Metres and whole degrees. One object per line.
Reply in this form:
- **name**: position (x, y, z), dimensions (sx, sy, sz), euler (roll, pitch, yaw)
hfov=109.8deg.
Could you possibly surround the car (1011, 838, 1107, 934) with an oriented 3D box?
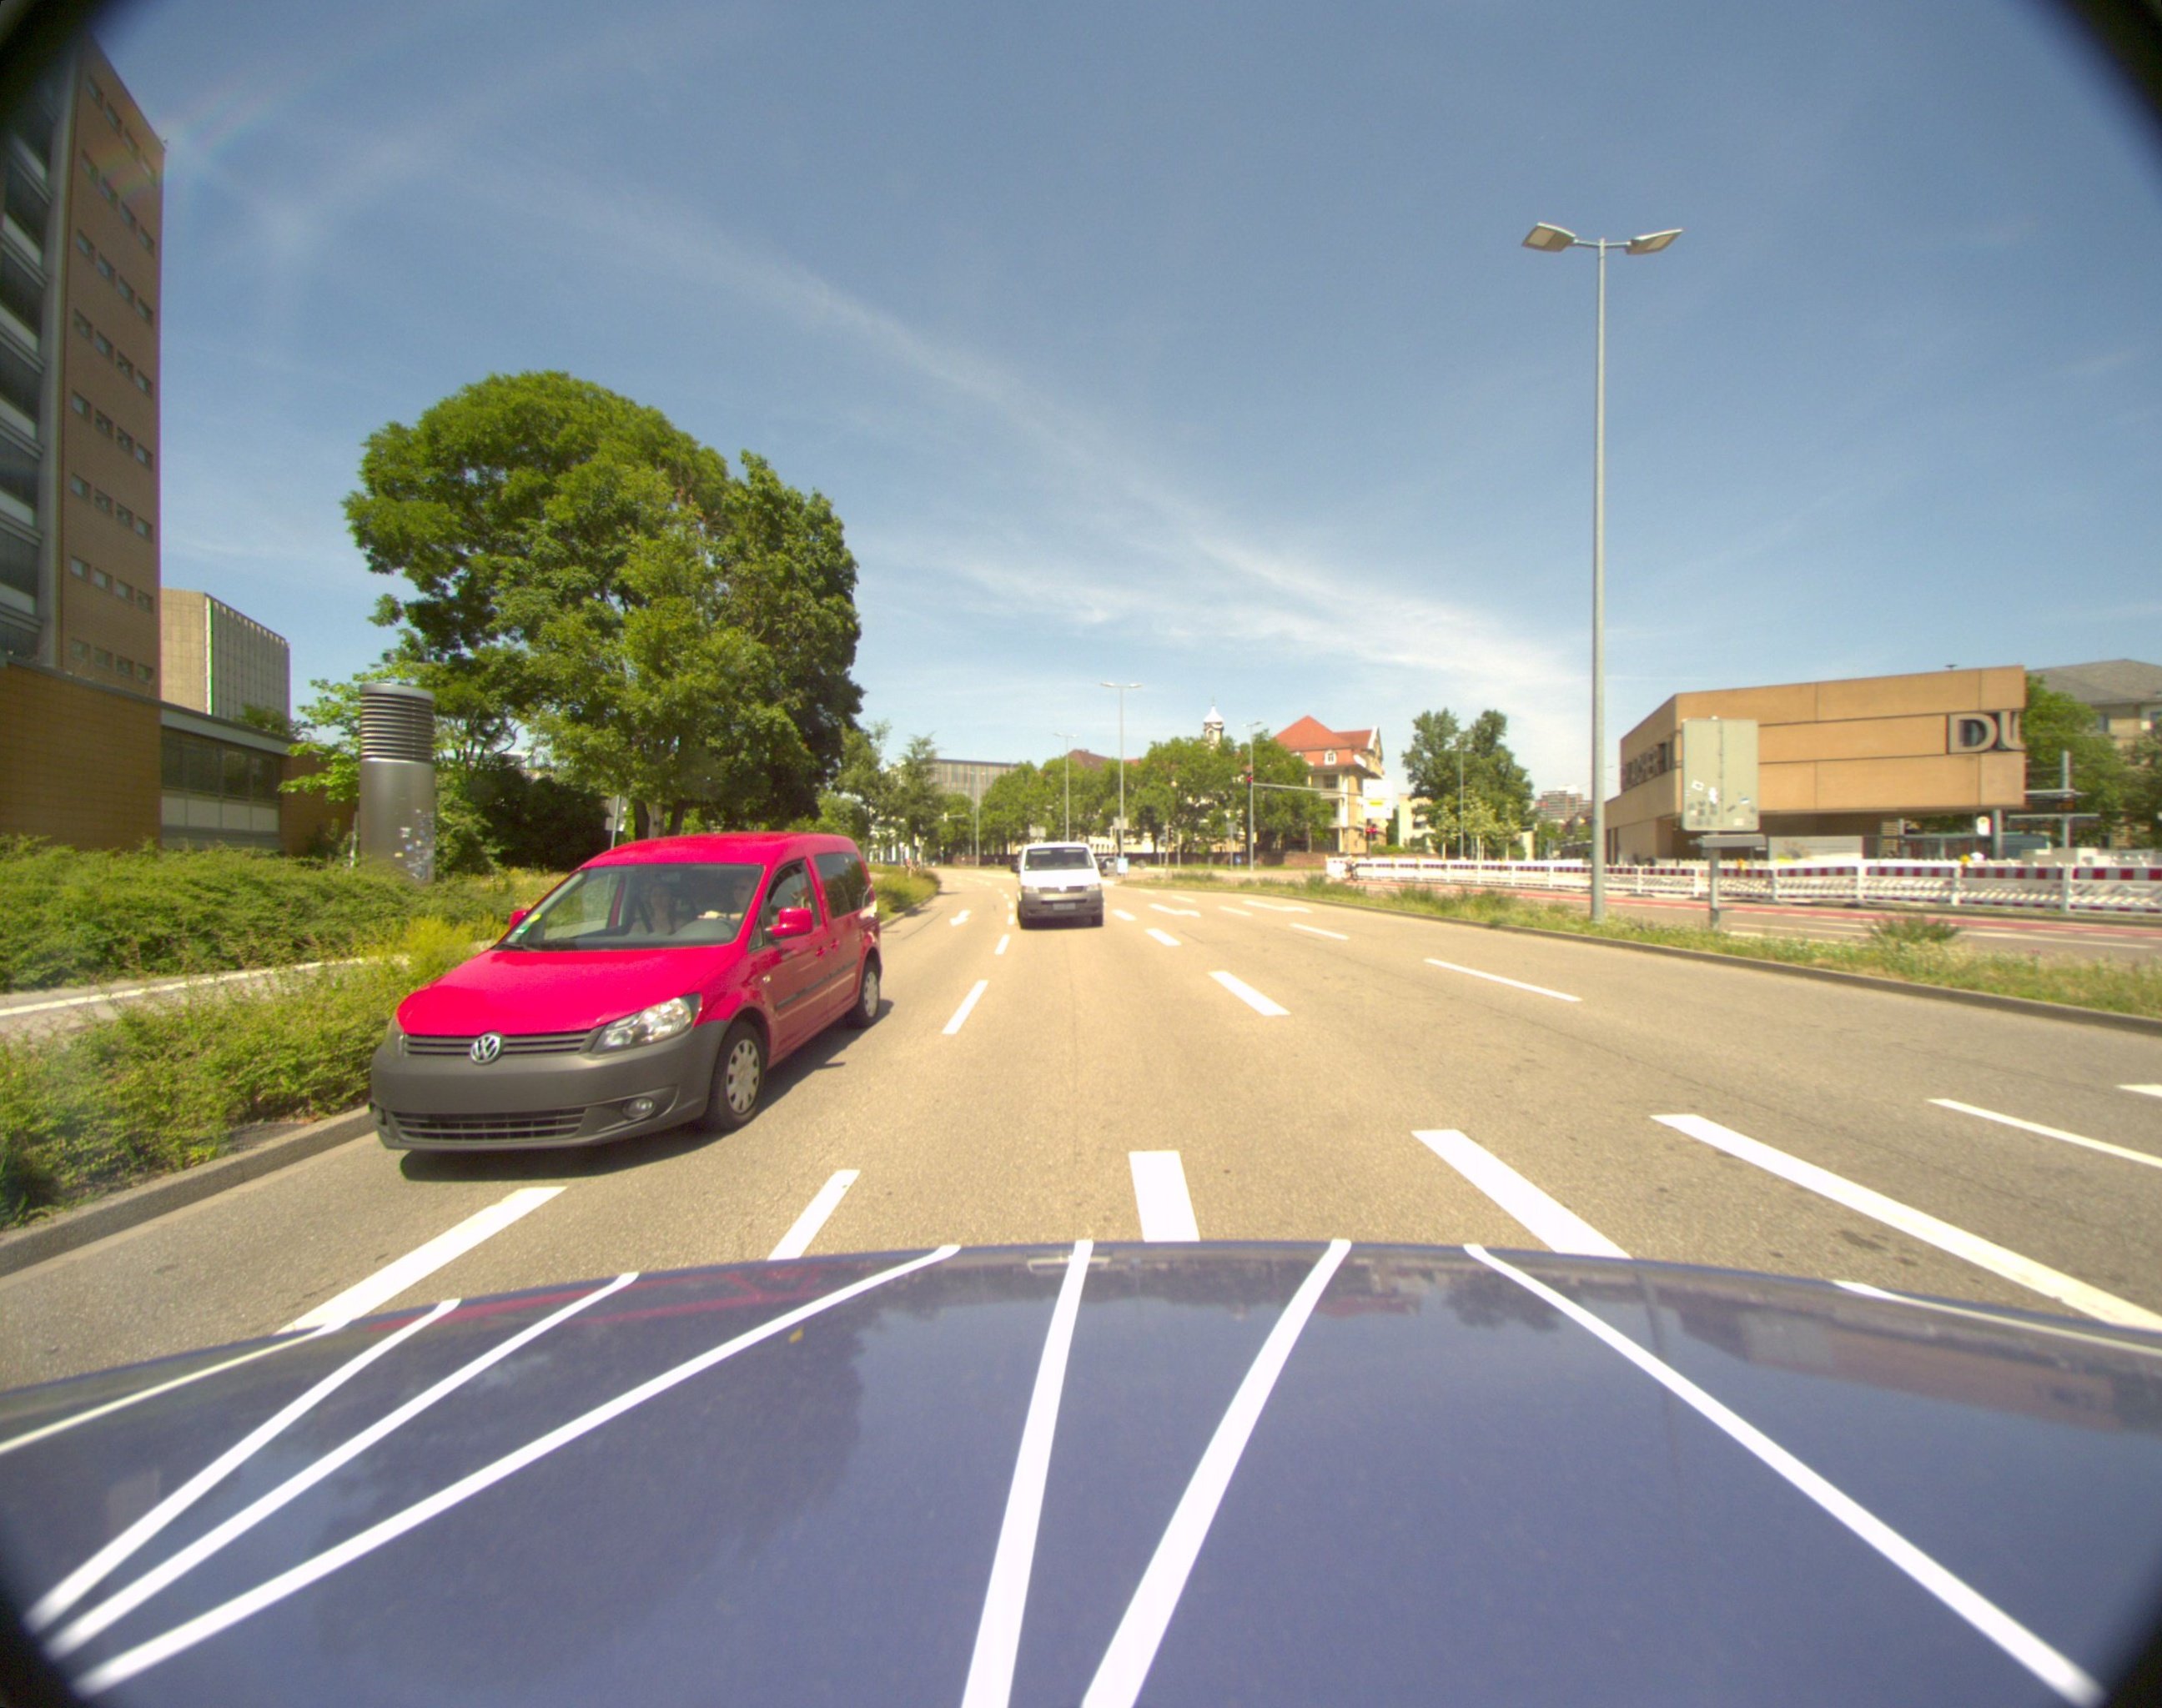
- **car**: position (-0.596, 0.675, 18.438), dimensions (1.972, 1.958, 4.847), euler (-2, 0, -3)

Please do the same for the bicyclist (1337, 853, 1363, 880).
- **bicyclist**: position (14.341, 0.657, 40.592), dimensions (0.587, 1.348, 1.438), euler (-3, 1, -14)

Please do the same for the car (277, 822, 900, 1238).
- **car**: position (-2.764, 0.800, 5.703), dimensions (1.655, 1.848, 4.545), euler (-1, 0, 0)

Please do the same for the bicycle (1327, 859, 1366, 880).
- **bicycle**: position (14.189, 0.810, 40.666), dimensions (0.879, 1.066, 2.229), euler (-2, 1, -14)

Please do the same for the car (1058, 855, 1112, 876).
- **car**: position (0.339, 0.808, 55.987), dimensions (3.646, 1.455, 1.786), euler (0, 0, -38)
